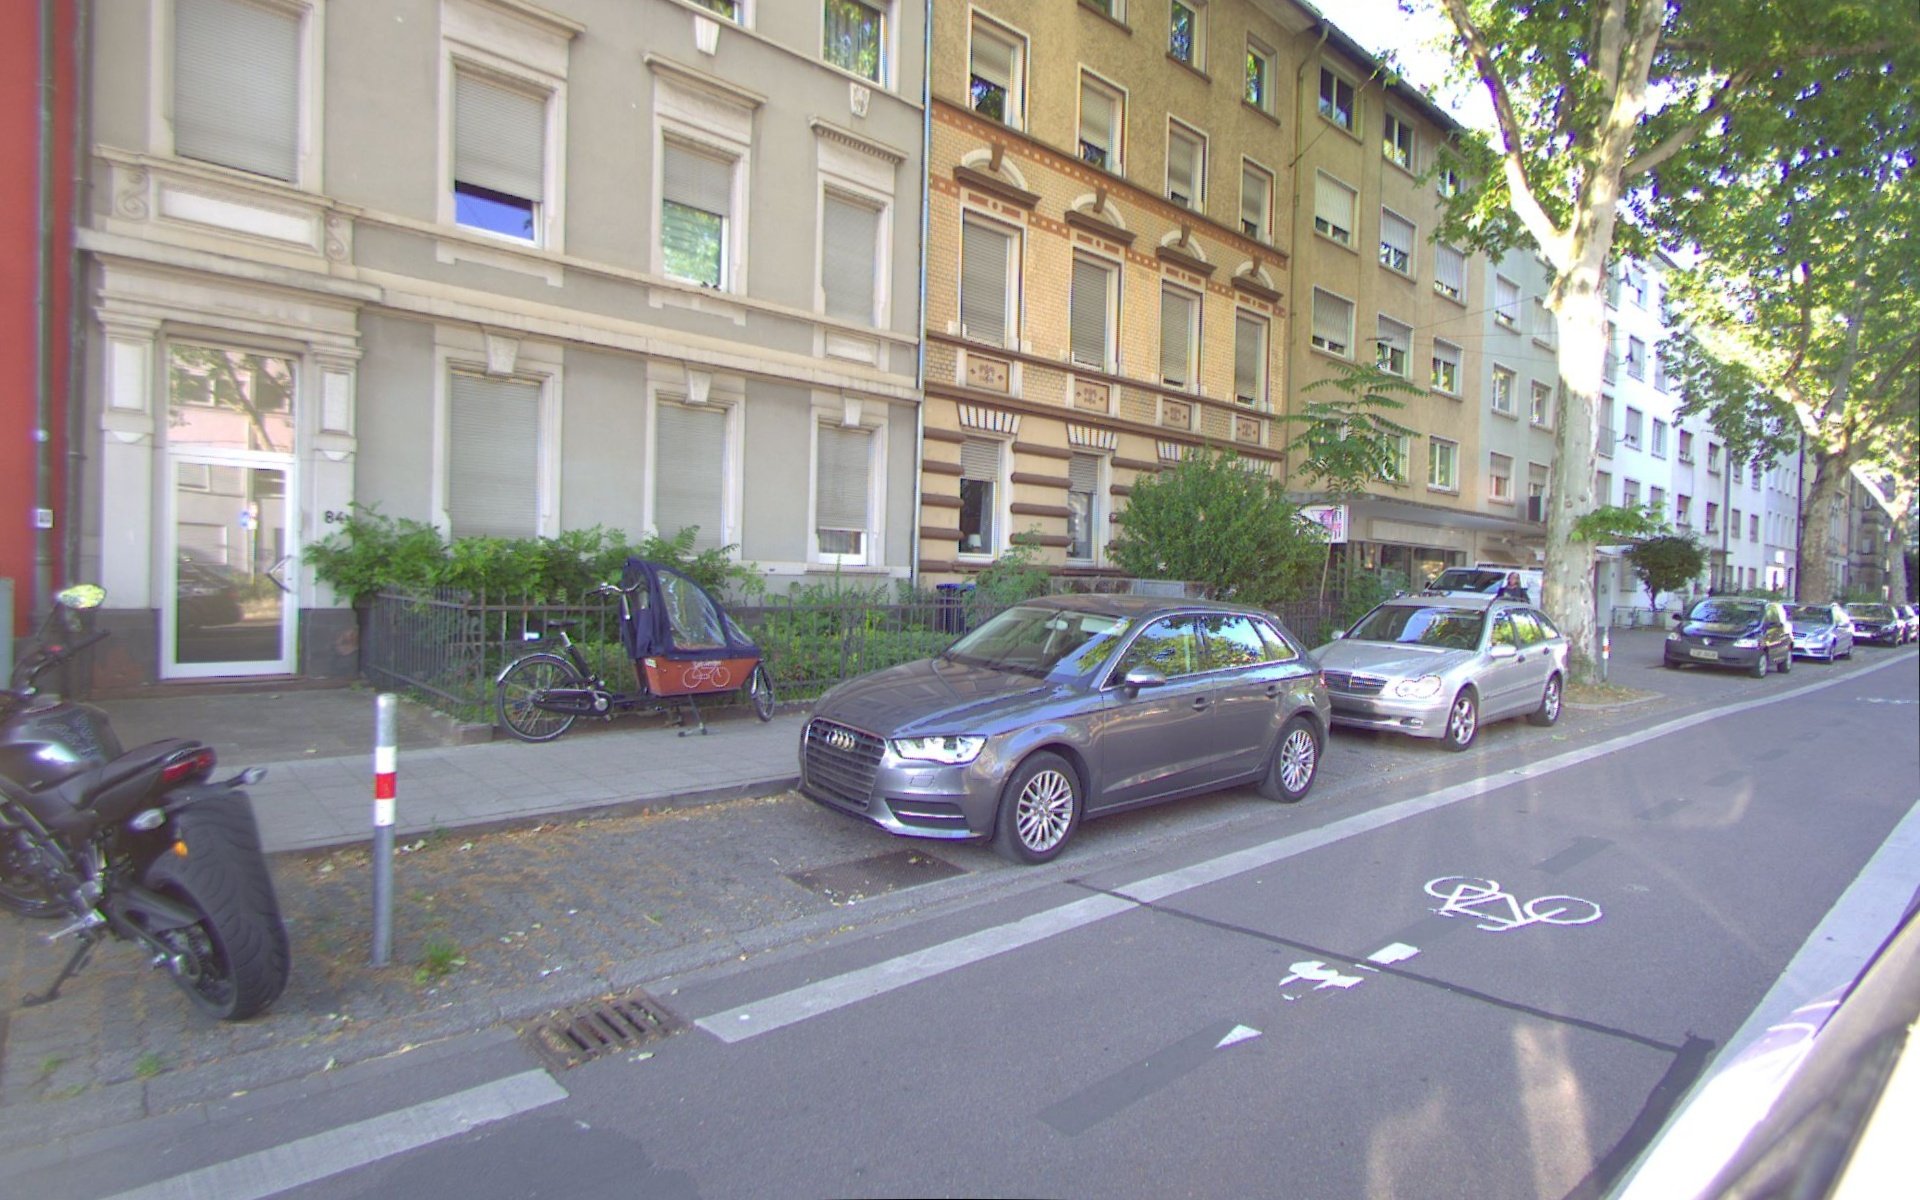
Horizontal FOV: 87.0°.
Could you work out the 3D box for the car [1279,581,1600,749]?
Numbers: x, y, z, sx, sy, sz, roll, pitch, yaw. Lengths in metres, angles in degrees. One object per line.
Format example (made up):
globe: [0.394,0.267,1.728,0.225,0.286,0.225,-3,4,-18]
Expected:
car: [5.452,0.562,11.204,4.494,1.469,1.676,0,2,-43]

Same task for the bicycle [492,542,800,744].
bicycle: [-2.470,0.297,8.230,2.354,1.445,0.608,0,0,-41]

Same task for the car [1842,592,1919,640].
car: [31.657,0.502,34.606,4.289,1.432,1.712,0,4,-42]

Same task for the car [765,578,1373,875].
car: [0.965,0.605,6.976,4.245,1.414,1.714,0,2,-41]

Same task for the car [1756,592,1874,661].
car: [21.989,0.623,25.955,4.695,1.561,1.697,0,2,-42]

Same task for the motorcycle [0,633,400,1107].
motorcycle: [-3.032,0.757,3.569,2.193,1.076,0.760,4,2,28]

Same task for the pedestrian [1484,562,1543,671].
pedestrian: [10.631,0.297,19.442,0.995,2.038,0.683,0,1,-44]

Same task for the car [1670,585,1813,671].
car: [16.235,0.522,20.960,3.932,1.564,1.656,0,2,-42]

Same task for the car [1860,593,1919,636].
car: [35.184,0.513,37.876,4.289,1.432,1.712,0,4,-42]

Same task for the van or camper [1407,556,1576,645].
van or camper: [13.169,-0.025,24.913,5.299,1.946,1.945,0,2,-42]
